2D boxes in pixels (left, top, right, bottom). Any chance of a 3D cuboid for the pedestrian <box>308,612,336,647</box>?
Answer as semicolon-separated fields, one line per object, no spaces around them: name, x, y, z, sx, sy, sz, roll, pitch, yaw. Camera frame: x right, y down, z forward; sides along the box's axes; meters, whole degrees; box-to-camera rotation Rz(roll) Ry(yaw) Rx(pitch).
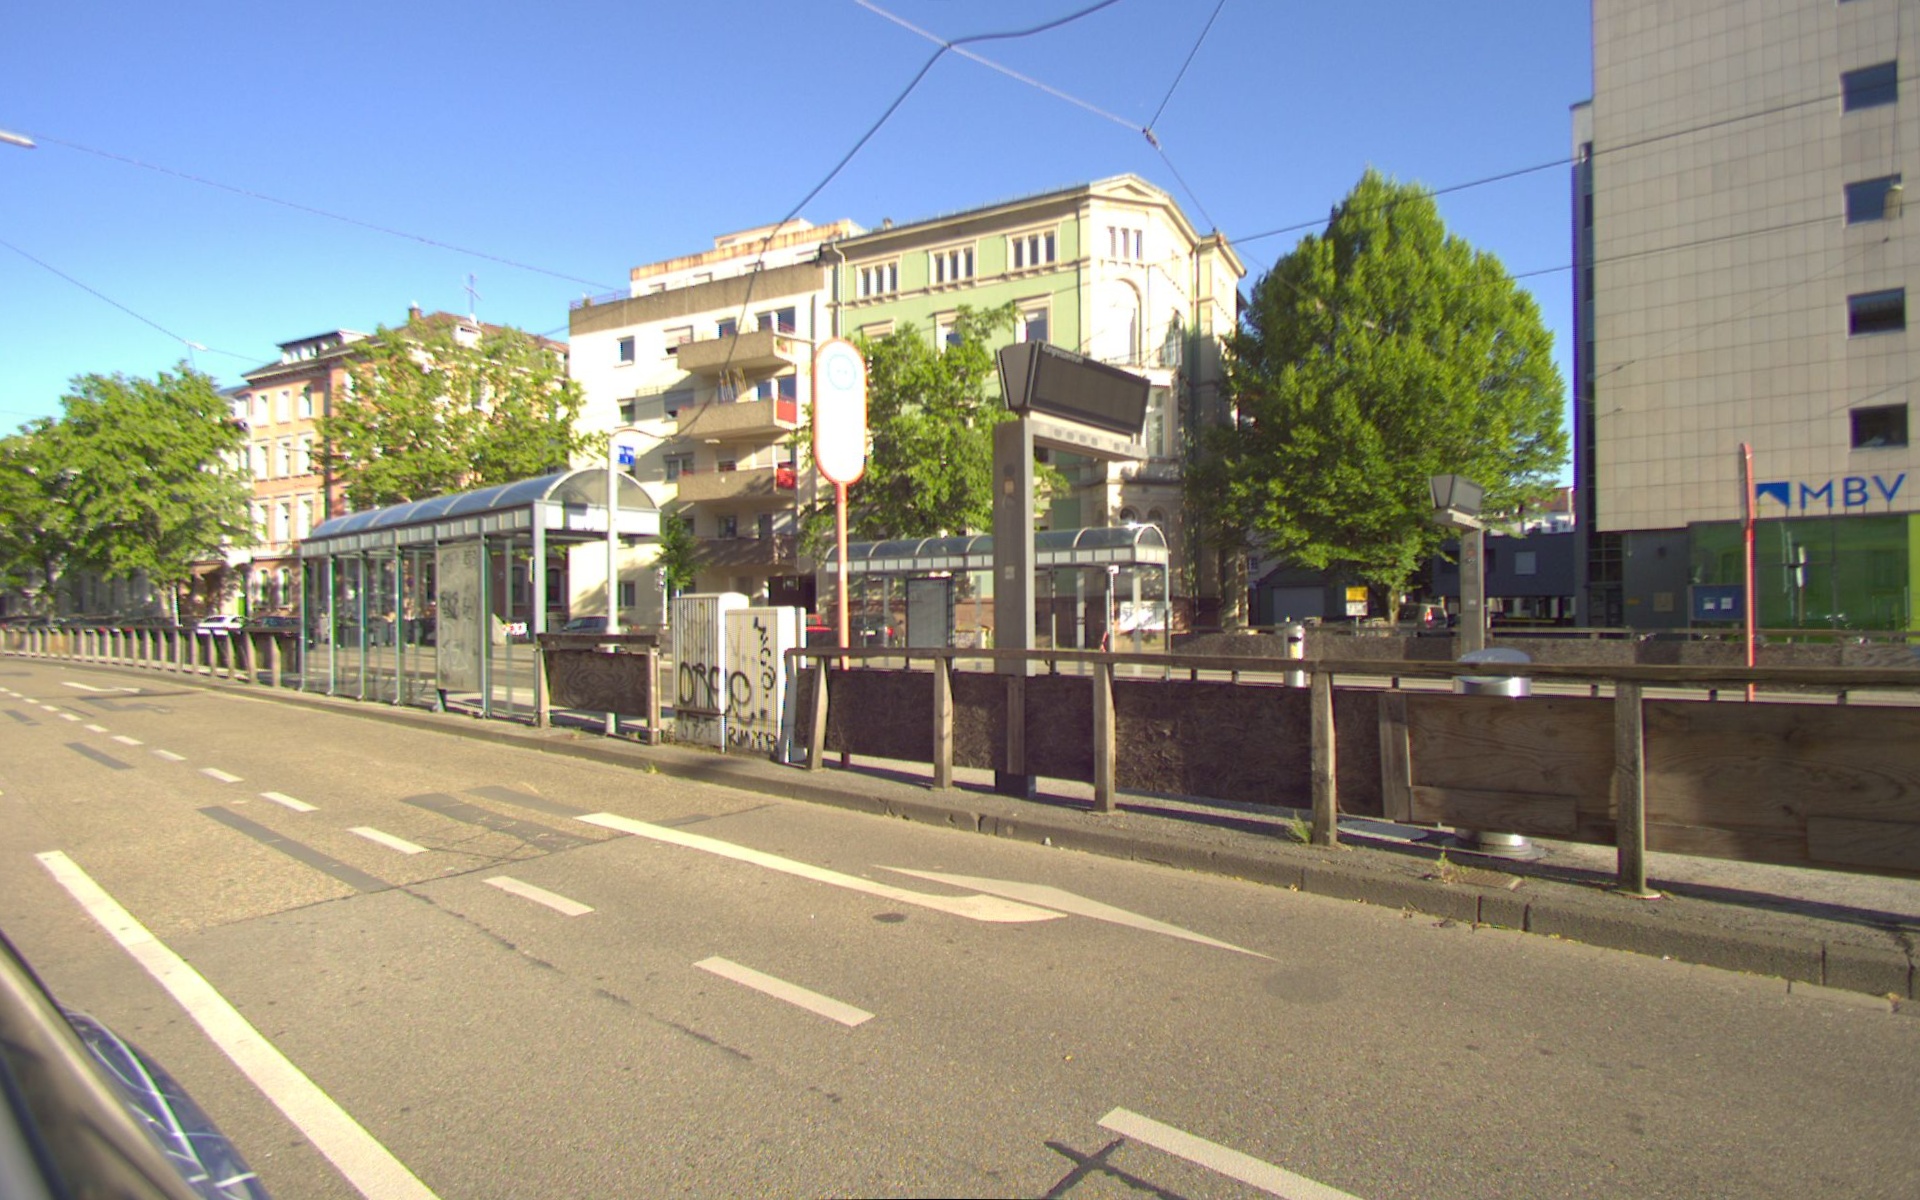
pedestrian;-31.961;1.475;50.684;1.016;1.733;0.846;-1;-2;32

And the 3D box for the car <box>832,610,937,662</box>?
car;-2.424;1.153;33.480;1.754;1.594;3.965;-1;-1;26

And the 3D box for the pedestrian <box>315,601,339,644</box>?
pedestrian;-33.063;1.190;52.860;0.753;2.224;0.804;-1;-2;30

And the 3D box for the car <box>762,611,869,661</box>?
car;-4.858;1.185;34.528;1.754;1.594;3.965;-1;-1;26

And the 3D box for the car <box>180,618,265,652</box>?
car;-39.468;1.840;54.271;1.825;1.721;4.130;0;-1;-5

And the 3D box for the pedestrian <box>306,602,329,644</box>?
pedestrian;-34.264;1.206;53.977;0.755;2.224;0.803;-1;-2;36

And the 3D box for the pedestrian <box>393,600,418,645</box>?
pedestrian;-27.821;1.122;50.748;0.753;2.224;0.804;-1;-2;30

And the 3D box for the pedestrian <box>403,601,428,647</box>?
pedestrian;-26.964;1.181;50.138;0.753;2.224;0.804;-1;-2;30

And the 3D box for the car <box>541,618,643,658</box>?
car;-14.028;1.432;38.526;3.725;1.438;1.637;-1;-1;29

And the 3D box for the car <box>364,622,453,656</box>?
car;-23.804;1.646;43.665;3.986;1.407;1.592;-1;-2;32

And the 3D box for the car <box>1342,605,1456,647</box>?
car;15.769;0.893;36.456;1.544;1.423;3.430;-1;0;-38

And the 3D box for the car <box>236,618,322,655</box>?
car;-29.034;1.547;43.119;3.988;1.500;1.629;-1;-2;33
